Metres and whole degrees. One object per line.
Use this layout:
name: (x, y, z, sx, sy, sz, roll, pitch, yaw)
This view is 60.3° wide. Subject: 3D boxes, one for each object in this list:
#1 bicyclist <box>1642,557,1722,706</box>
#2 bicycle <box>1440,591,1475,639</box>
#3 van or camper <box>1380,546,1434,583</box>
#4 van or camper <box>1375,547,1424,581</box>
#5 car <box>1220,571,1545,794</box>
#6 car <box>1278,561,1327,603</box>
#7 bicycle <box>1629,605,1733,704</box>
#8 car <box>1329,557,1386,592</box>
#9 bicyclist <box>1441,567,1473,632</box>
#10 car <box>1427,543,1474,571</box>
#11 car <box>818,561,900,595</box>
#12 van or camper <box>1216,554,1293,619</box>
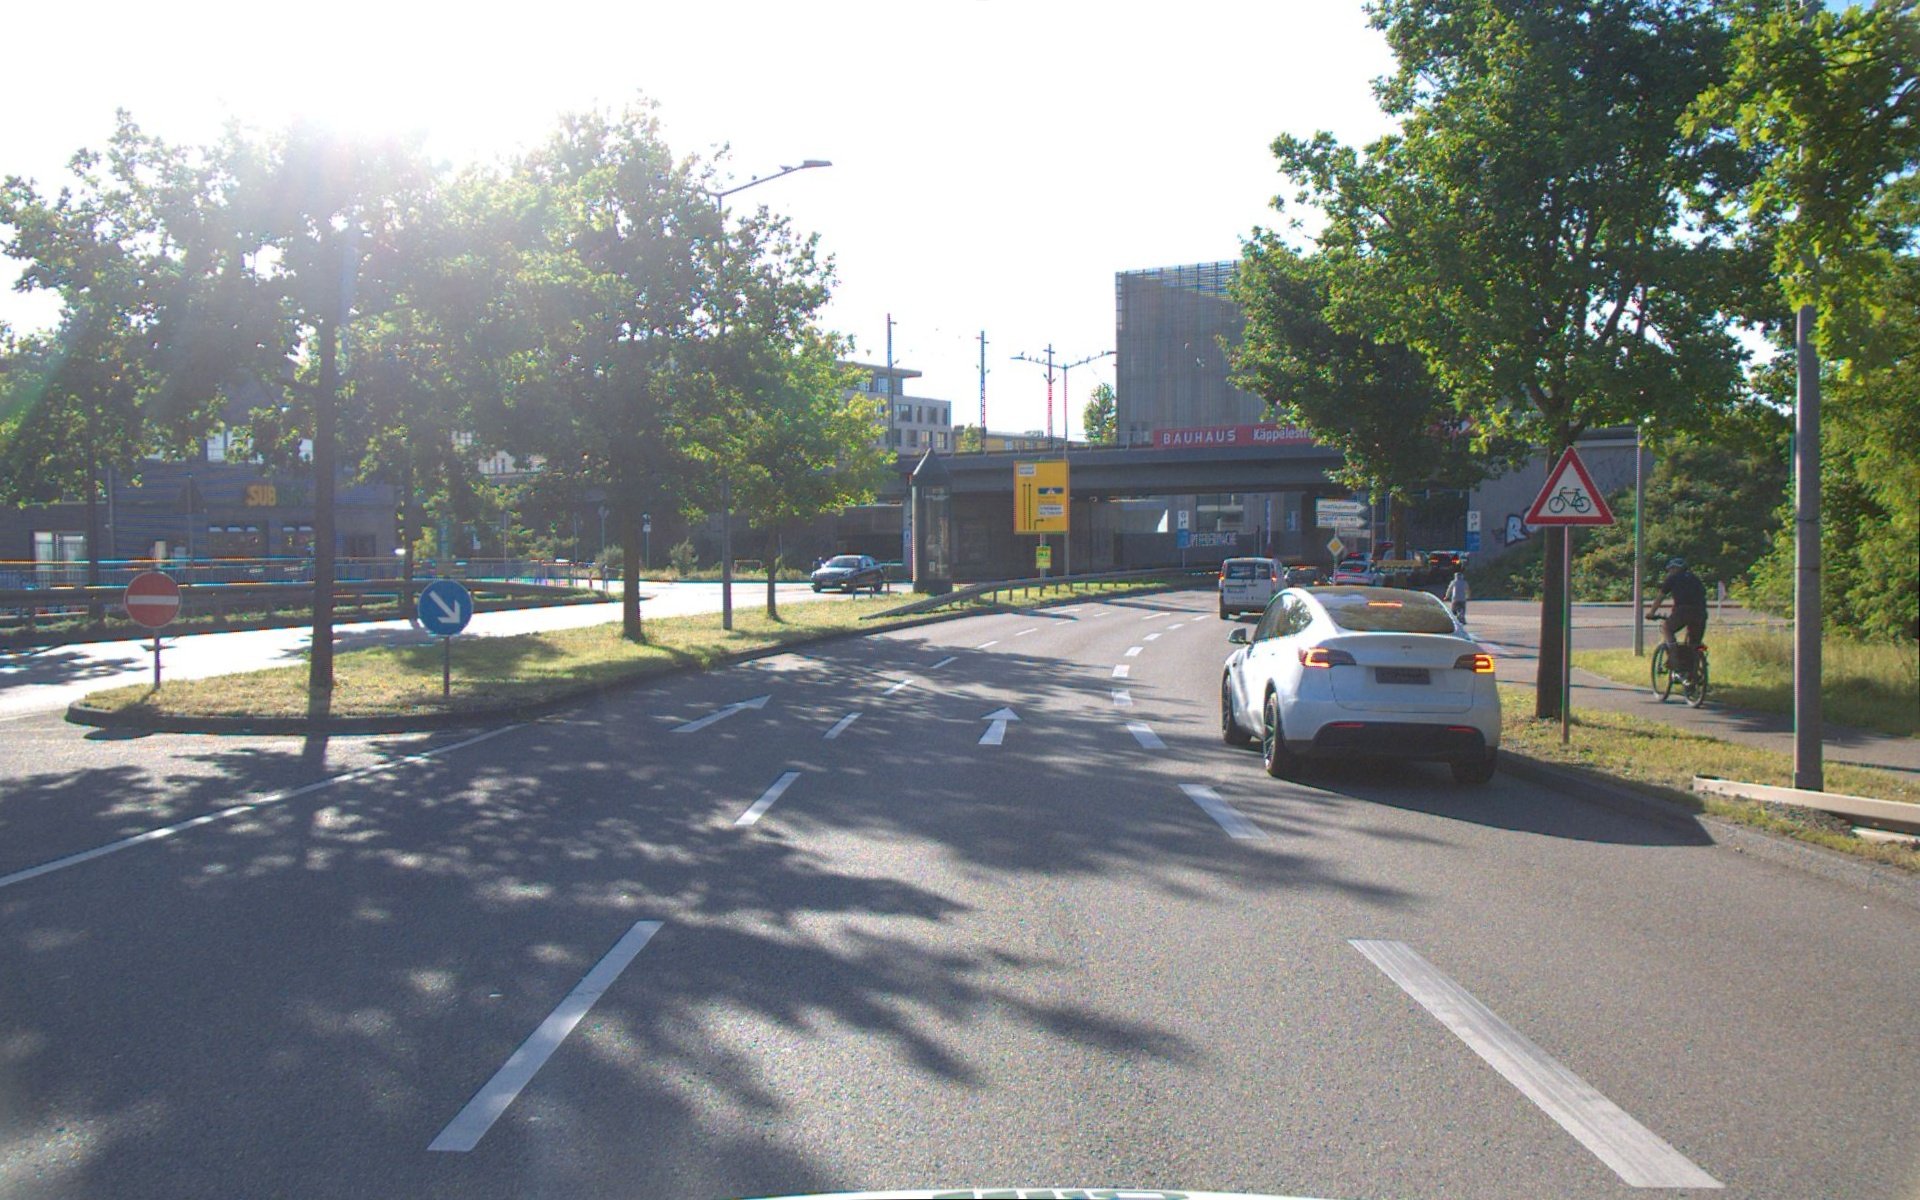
bicyclist: (9.068, 0.381, 20.805, 0.661, 1.807, 0.949, -2, 1, 9)
bicycle: (12.960, 0.370, 43.113, 0.727, 1.131, 2.454, -2, 1, 14)
van or camper: (23.415, -1.883, 86.621, 1.790, 1.822, 4.540, 2, 3, 27)
van or camper: (25.191, -2.087, 94.827, 1.721, 1.845, 3.951, 1, 3, 30)
car: (3.654, 0.640, 15.154, 1.874, 1.669, 4.411, 2, 0, 1)
car: (13.527, -0.725, 65.274, 1.570, 1.459, 3.682, 1, 3, 17)
bicycle: (9.119, 0.663, 21.002, 0.680, 1.114, 2.120, -2, 1, 9)
car: (18.065, -1.172, 75.056, 1.728, 1.501, 4.287, 1, 2, 24)
bicyclist: (12.944, -0.013, 43.102, 0.730, 1.647, 0.913, -2, 1, 15)
car: (27.996, -2.496, 94.441, 1.677, 1.549, 3.735, 1, 3, 31)
car: (-4.178, -0.948, 69.244, 1.762, 1.333, 4.617, 1, 1, 20)
van or camper: (9.460, -0.477, 52.809, 1.917, 1.916, 4.884, 1, 2, 16)
